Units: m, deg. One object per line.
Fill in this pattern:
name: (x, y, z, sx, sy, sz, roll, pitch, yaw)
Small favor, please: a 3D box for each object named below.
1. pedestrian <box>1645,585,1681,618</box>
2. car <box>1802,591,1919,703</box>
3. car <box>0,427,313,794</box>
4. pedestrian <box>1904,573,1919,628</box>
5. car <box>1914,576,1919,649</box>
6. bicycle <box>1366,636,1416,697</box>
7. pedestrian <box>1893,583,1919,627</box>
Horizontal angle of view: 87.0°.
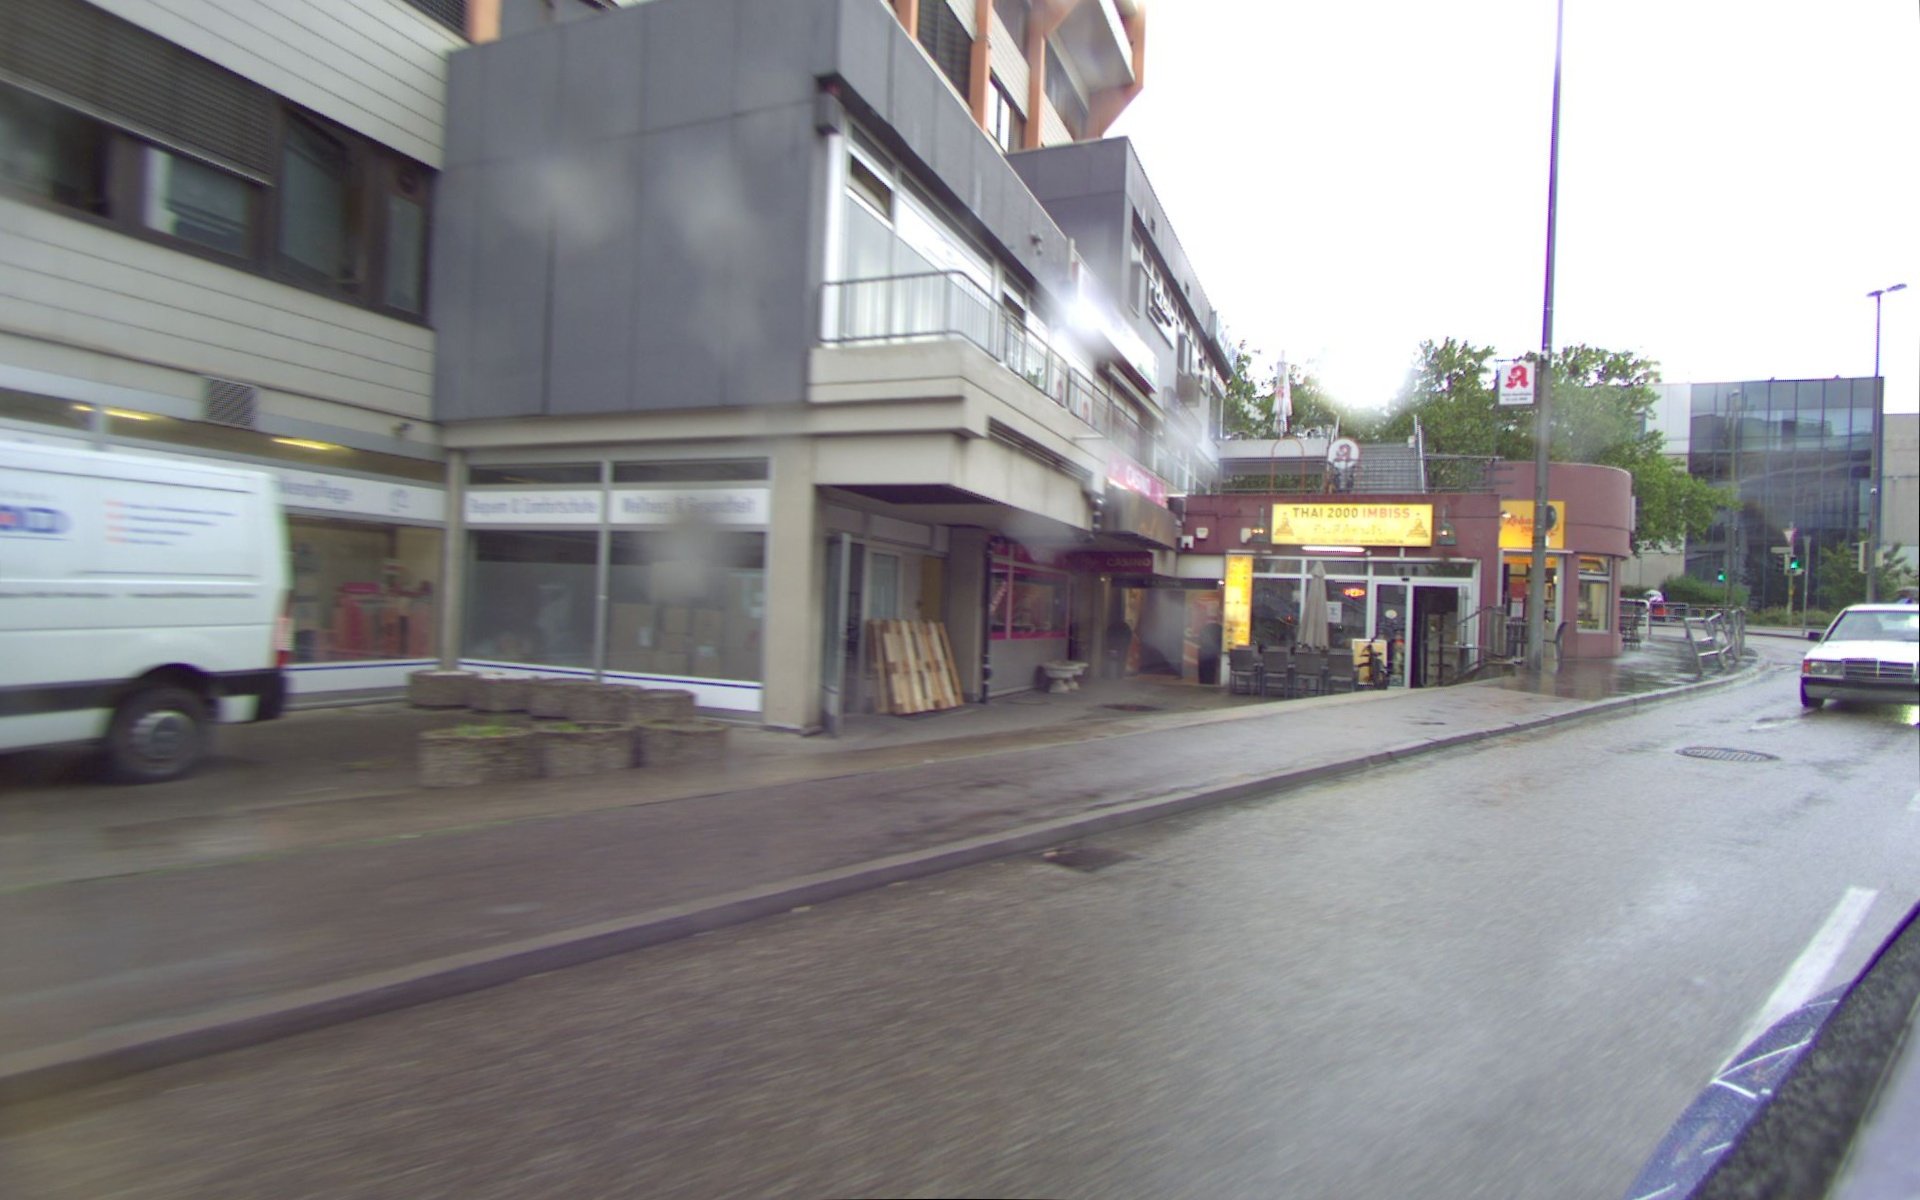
pedestrian: (31.428, 0.042, 45.258, 0.909, 1.418, 1.208, 1, 1, 14)
car: (13.004, 0.565, 13.691, 3.922, 1.324, 1.662, -1, 2, -38)
car: (-6.909, -0.004, 6.067, 1.982, 2.237, 4.844, 4, -1, 18)
pedestrian: (32.883, 0.026, 34.535, 0.781, 1.825, 0.689, 0, 4, -30)
car: (24.305, 0.297, 23.866, 4.400, 1.667, 2.058, -1, 2, -39)
bicycle: (7.918, 1.194, 18.655, 0.523, 0.949, 1.571, 3, 2, 13)
pedestrian: (32.100, 0.161, 34.100, 0.756, 1.396, 0.689, 0, 4, -30)
